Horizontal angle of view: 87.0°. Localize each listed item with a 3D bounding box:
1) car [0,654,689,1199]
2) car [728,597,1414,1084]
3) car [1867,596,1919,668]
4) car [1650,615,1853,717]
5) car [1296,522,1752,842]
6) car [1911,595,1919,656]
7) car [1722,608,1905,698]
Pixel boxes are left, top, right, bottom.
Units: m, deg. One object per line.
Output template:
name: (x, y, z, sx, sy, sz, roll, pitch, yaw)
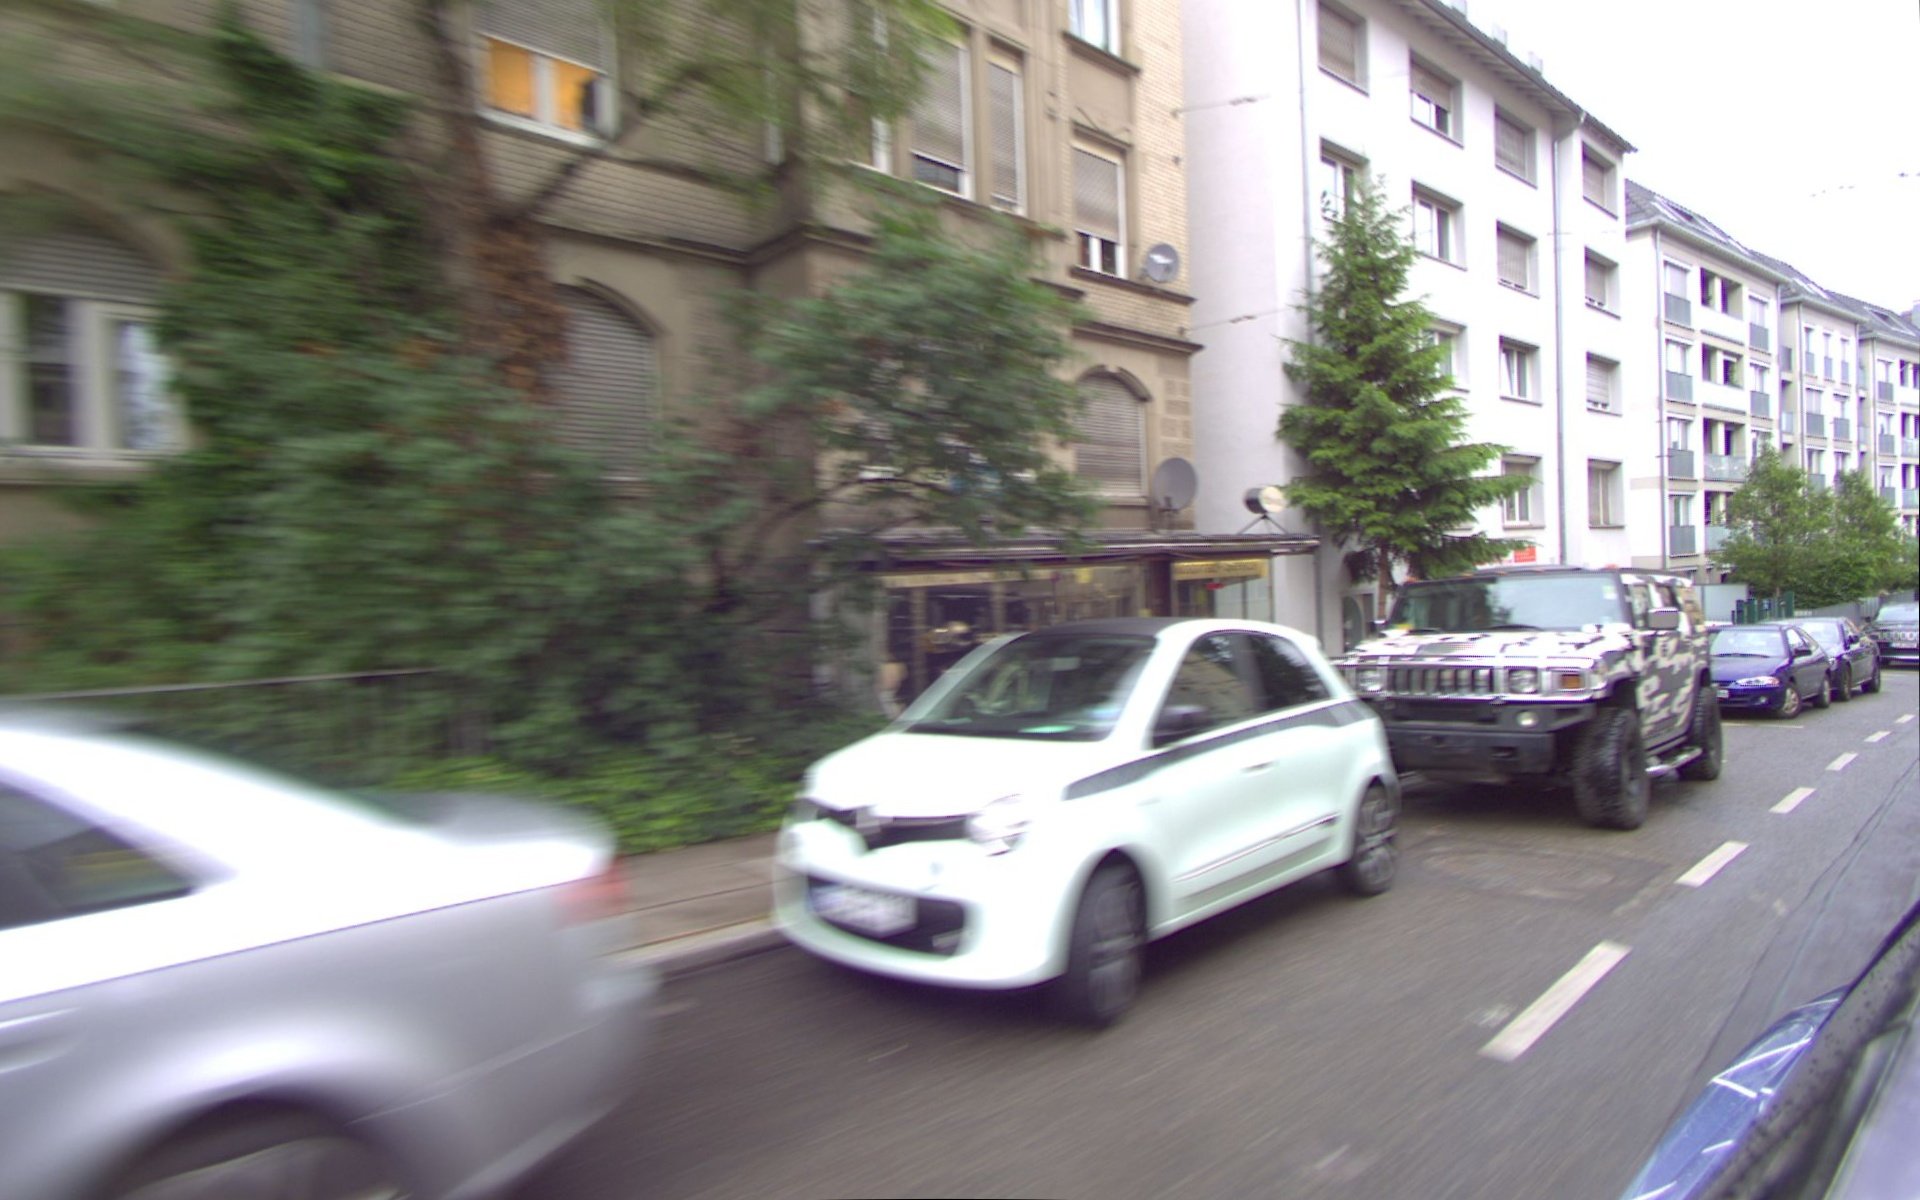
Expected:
car: (-2.840, 0.872, 1.534, 4.403, 1.419, 1.750, 0, -3, -43)
car: (0.786, 0.807, 5.092, 1.560, 1.566, 3.526, -3, -3, 45)
car: (26.187, 0.790, 27.265, 4.736, 1.818, 1.946, -1, -1, -40)
car: (12.392, 0.941, 15.768, 3.813, 1.355, 1.681, 0, -1, -39)
car: (5.298, 0.563, 9.084, 5.262, 2.040, 2.129, 0, -3, -45)
car: (30.473, 0.755, 30.718, 4.391, 1.818, 1.782, 0, -1, -39)
car: (15.919, 0.899, 18.791, 4.528, 1.455, 1.797, 0, -1, -40)
